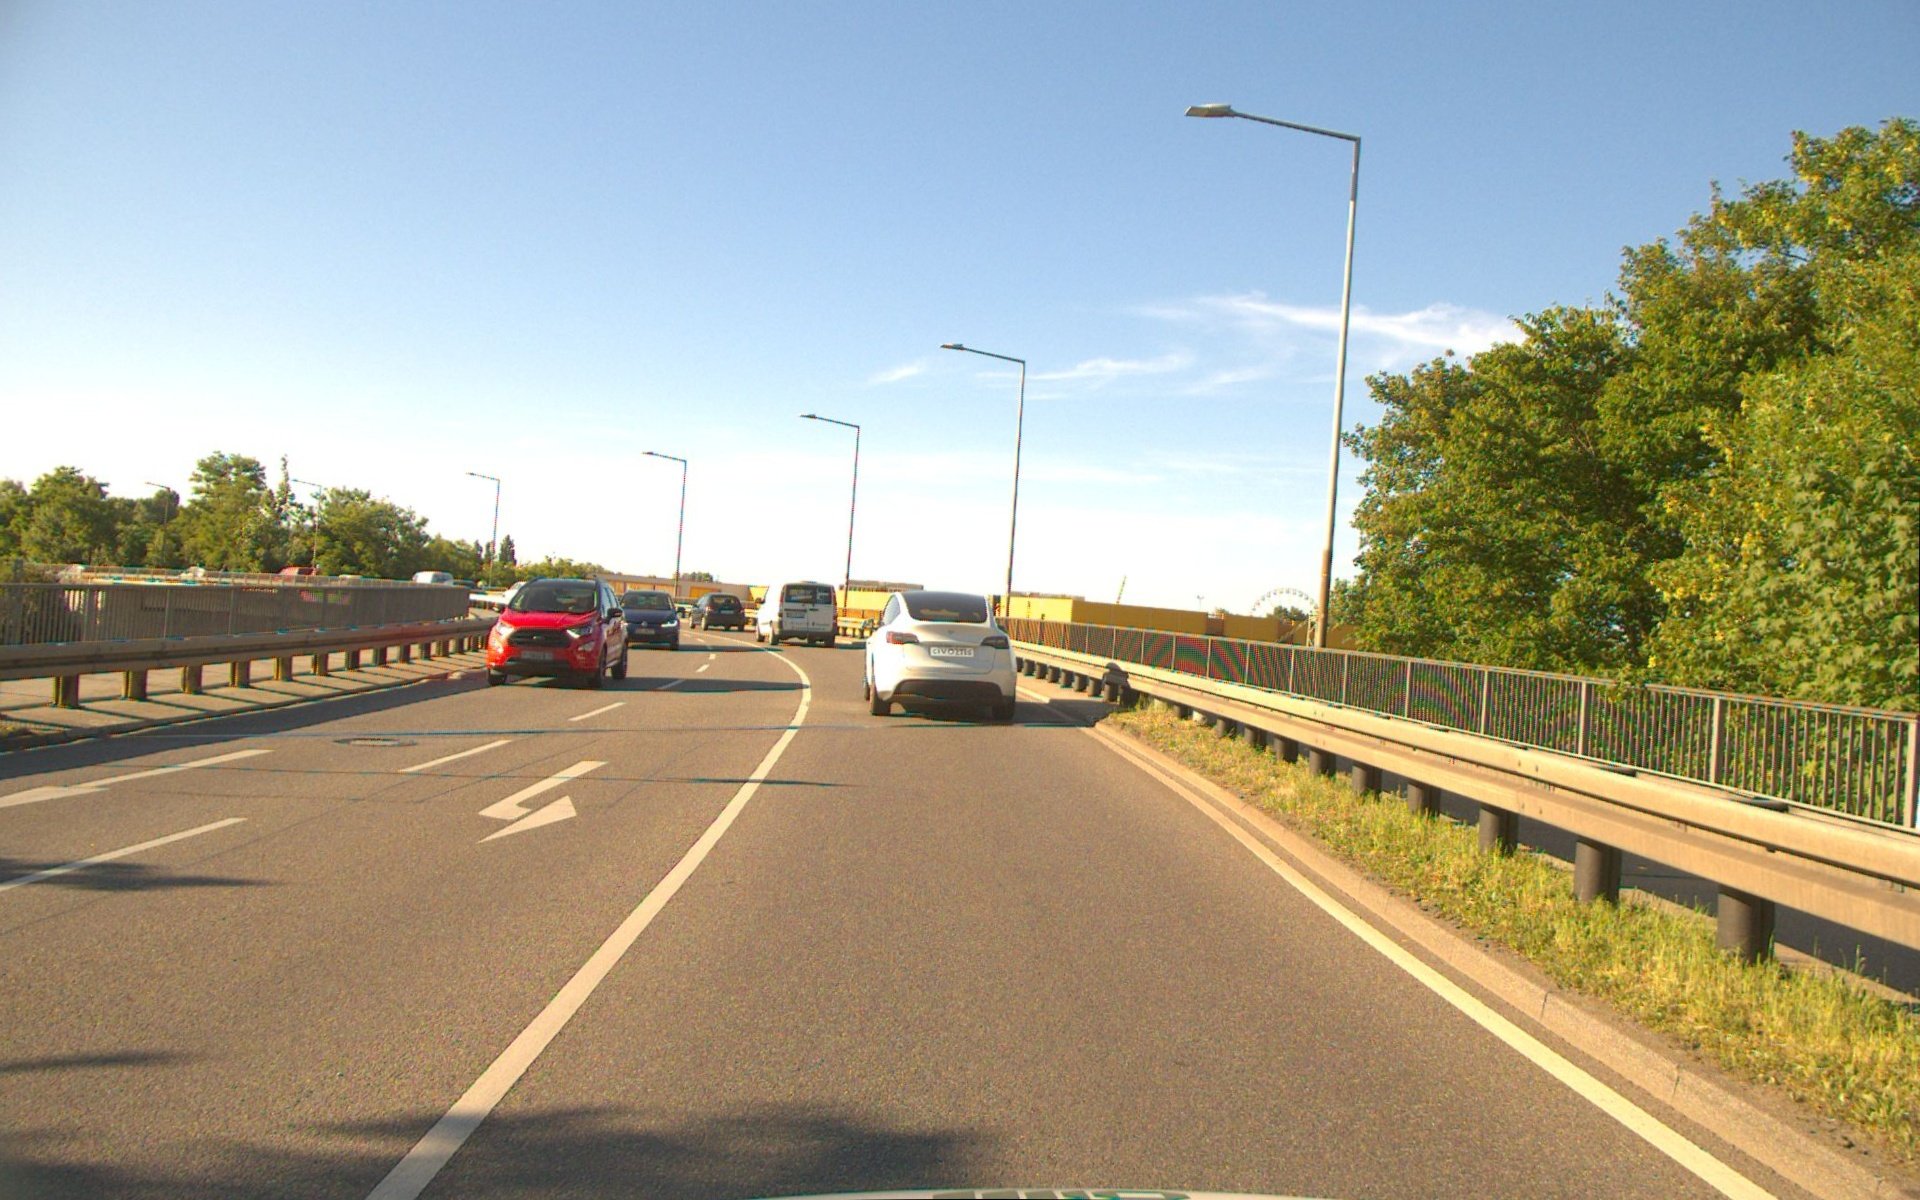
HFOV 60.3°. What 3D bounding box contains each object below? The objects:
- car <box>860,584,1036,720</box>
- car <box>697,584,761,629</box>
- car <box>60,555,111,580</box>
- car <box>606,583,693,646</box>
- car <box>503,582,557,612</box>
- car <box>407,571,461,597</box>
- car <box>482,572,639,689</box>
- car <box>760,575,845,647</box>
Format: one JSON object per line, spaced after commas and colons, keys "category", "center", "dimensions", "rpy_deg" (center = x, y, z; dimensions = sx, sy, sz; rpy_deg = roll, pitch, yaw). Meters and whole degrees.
{"category": "car", "center": [-0.264, 0.646, 22.611], "dimensions": [1.947, 1.666, 4.056], "rpy_deg": [1, 0, -7]}
{"category": "car", "center": [-9.127, 0.242, 65.092], "dimensions": [1.937, 1.666, 3.982], "rpy_deg": [1, 0, -16]}
{"category": "car", "center": [-76.483, -2.826, 144.669], "dimensions": [3.908, 1.984, 1.961], "rpy_deg": [2, 0, 25]}
{"category": "car", "center": [-8.075, 0.360, 43.332], "dimensions": [1.690, 1.512, 4.403], "rpy_deg": [2, 0, -4]}
{"category": "car", "center": [-24.940, -0.184, 95.963], "dimensions": [1.843, 1.612, 3.869], "rpy_deg": [2, 0, -34]}
{"category": "car", "center": [-35.033, -1.055, 110.117], "dimensions": [1.827, 1.583, 3.830], "rpy_deg": [3, 0, -44]}
{"category": "car", "center": [-6.310, 0.442, 26.530], "dimensions": [1.769, 1.666, 3.996], "rpy_deg": [2, 0, -5]}
{"category": "car", "center": [-4.753, 0.296, 49.305], "dimensions": [1.970, 1.974, 4.454], "rpy_deg": [2, 0, -12]}
